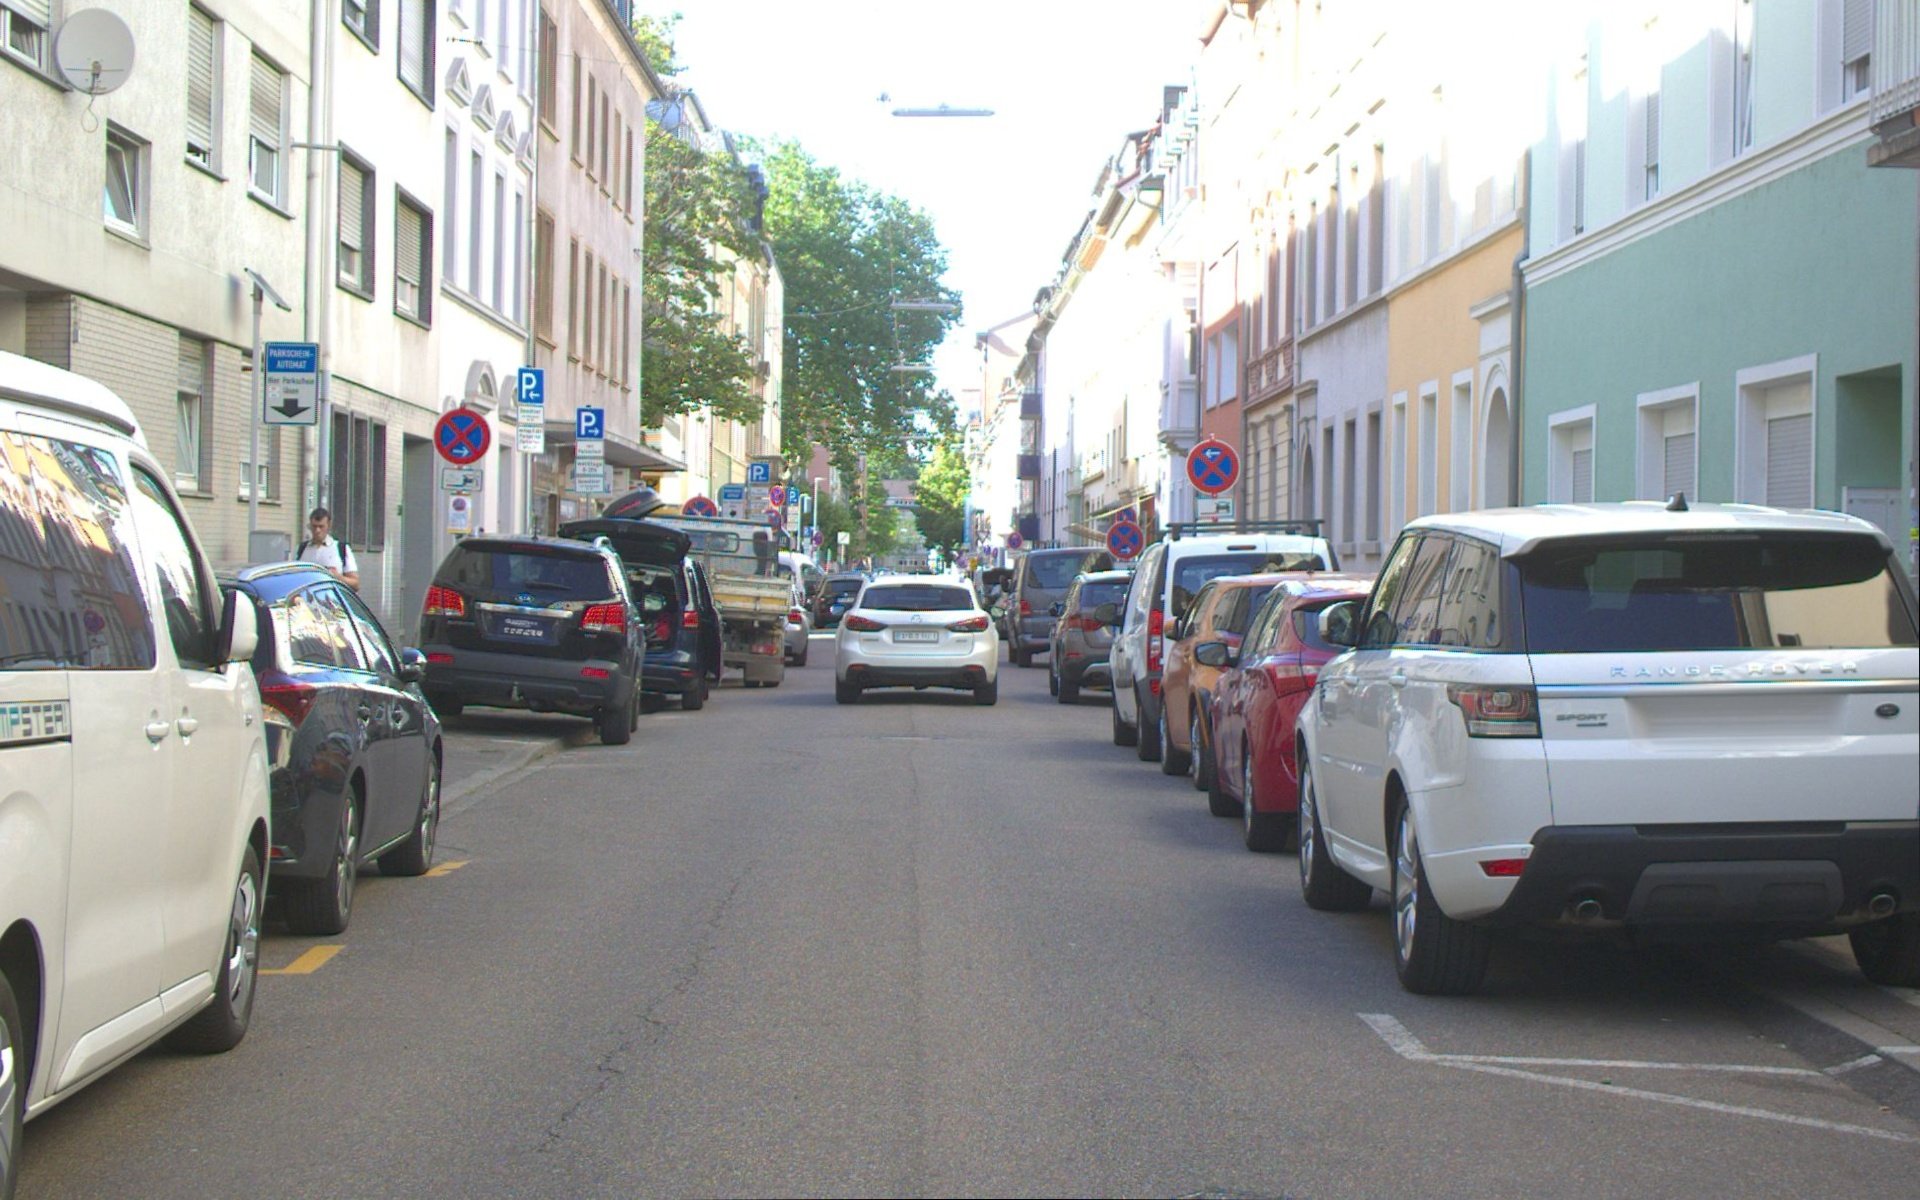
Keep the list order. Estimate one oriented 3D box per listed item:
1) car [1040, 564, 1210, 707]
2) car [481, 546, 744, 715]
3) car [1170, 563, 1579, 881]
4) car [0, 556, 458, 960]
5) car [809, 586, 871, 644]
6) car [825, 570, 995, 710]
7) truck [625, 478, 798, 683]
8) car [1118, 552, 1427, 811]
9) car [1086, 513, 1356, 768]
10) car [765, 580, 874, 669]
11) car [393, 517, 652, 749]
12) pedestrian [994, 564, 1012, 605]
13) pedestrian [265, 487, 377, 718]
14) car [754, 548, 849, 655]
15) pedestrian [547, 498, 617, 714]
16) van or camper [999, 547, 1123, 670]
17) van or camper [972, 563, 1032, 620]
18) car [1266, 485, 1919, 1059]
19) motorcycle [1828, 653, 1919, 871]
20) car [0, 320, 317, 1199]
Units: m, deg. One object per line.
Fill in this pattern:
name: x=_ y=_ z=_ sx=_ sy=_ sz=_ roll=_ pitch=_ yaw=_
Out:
car: x=1.944 y=0.384 z=41.536 sx=1.739 sy=1.572 sz=4.378 roll=1 pitch=1 yaw=-1
car: x=-3.824 y=0.295 z=38.824 sx=2.441 sy=1.700 sz=5.242 roll=2 pitch=0 yaw=-1
car: x=2.245 y=0.605 z=19.609 sx=1.742 sy=1.563 sz=4.032 roll=1 pitch=1 yaw=-1
car: x=-3.292 y=0.563 z=14.861 sx=1.706 sy=1.445 sz=4.302 roll=2 pitch=0 yaw=-2
car: x=-3.430 y=0.417 z=98.952 sx=1.625 sy=1.592 sz=3.580 roll=2 pitch=0 yaw=0
car: x=-0.535 y=0.427 z=39.588 sx=1.834 sy=1.481 sz=4.057 roll=1 pitch=0 yaw=0
truck: x=-3.438 y=-0.212 z=46.786 sx=2.156 sy=2.581 sz=6.250 roll=1 pitch=-1 yaw=-5
car: x=2.135 y=0.513 z=24.379 sx=1.580 sy=1.626 sz=3.682 roll=3 pitch=1 yaw=-3
car: x=2.121 y=0.313 z=29.036 sx=1.782 sy=1.955 sz=4.336 roll=1 pitch=0 yaw=-2
car: x=-2.357 y=0.384 z=57.943 sx=1.758 sy=1.411 sz=4.000 roll=-1 pitch=1 yaw=-2
car: x=-3.755 y=0.228 z=30.195 sx=1.879 sy=1.749 sz=4.544 roll=4 pitch=1 yaw=-4
pedestrian: x=1.550 y=-0.553 z=123.381 sx=0.627 sy=1.459 sz=0.575 roll=1 pitch=-1 yaw=0
pedestrian: x=-5.411 y=0.018 z=29.160 sx=0.806 sy=1.927 sz=0.691 roll=1 pitch=0 yaw=-1
car: x=-2.934 y=0.006 z=63.179 sx=1.647 sy=1.861 sz=4.000 roll=1 pitch=0 yaw=-3
pedestrian: x=-3.951 y=0.066 z=35.955 sx=0.619 sy=2.221 sz=0.688 roll=1 pitch=-1 yaw=0
van or camper: x=1.697 y=0.127 z=59.185 sx=1.775 sy=2.029 sz=4.570 roll=0 pitch=0 yaw=-3
van or camper: x=1.473 y=-0.276 z=121.736 sx=1.993 sy=1.919 sz=4.000 roll=1 pitch=-1 yaw=0
car: x=2.463 y=0.506 z=13.319 sx=2.005 sy=1.777 sz=4.939 roll=1 pitch=1 yaw=-1
motorcycle: x=5.001 y=0.821 z=17.898 sx=0.480 sy=1.043 sz=1.691 roll=1 pitch=0 yaw=-1
car: x=-2.952 y=0.337 z=8.602 sx=1.894 sy=1.951 sz=4.782 roll=3 pitch=1 yaw=-3
